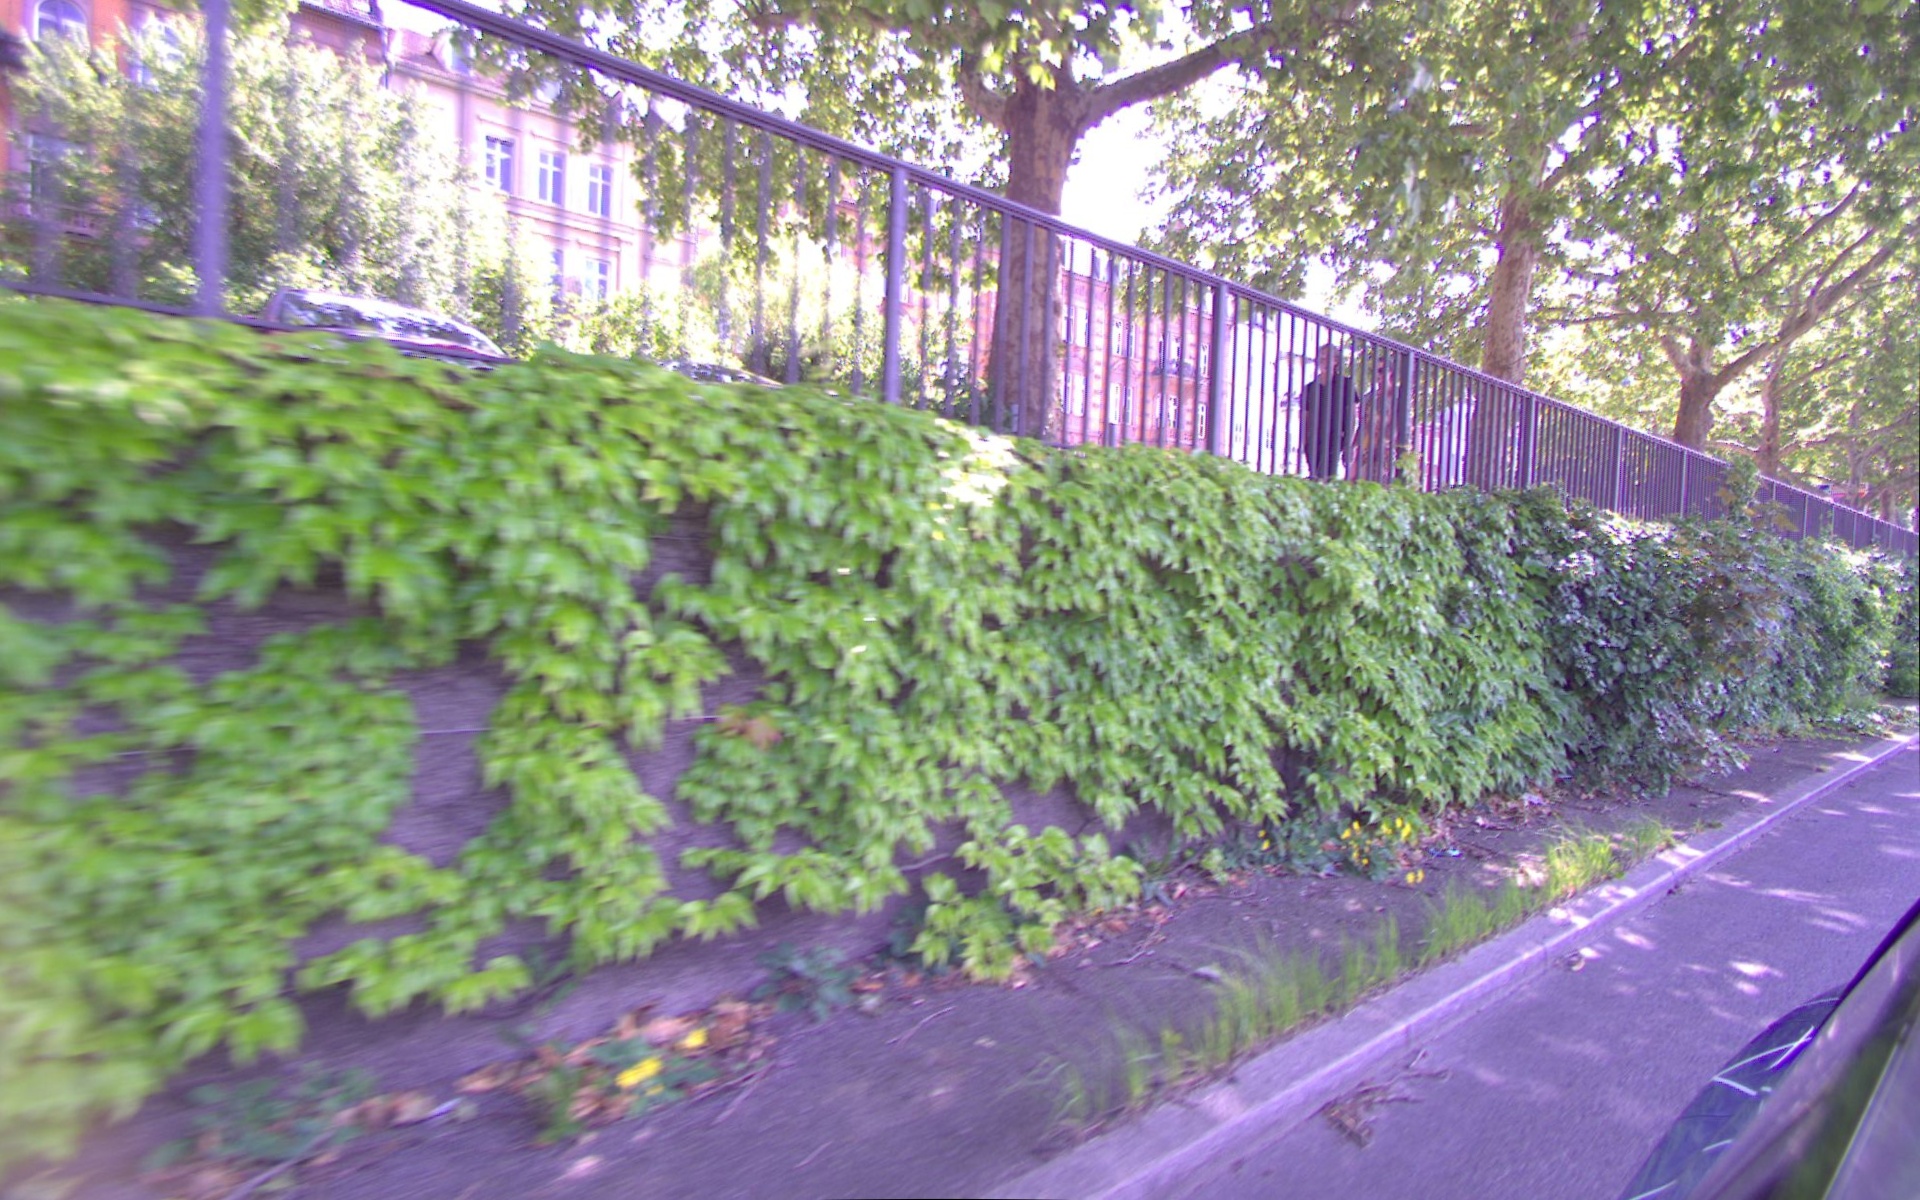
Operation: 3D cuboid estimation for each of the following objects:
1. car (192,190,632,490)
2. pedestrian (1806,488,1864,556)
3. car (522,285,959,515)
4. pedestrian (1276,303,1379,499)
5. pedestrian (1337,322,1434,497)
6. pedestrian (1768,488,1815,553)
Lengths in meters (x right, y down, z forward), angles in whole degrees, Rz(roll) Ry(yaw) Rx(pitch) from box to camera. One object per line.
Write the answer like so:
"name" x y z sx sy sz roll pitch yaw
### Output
"car" -3.708 -1.384 6.510 1.623 1.128 3.737 1 3 -42
"pedestrian" 16.993 -1.513 19.652 0.729 1.259 0.712 1 2 -41
"car" -1.849 -1.289 7.639 1.622 1.128 3.738 1 2 -41
"pedestrian" 3.386 -1.786 9.320 0.646 1.660 0.617 3 2 42
"pedestrian" 3.797 -1.660 9.025 0.584 1.437 0.580 4 2 42
"pedestrian" 16.746 -1.594 20.386 0.679 1.259 0.577 1 2 -41
